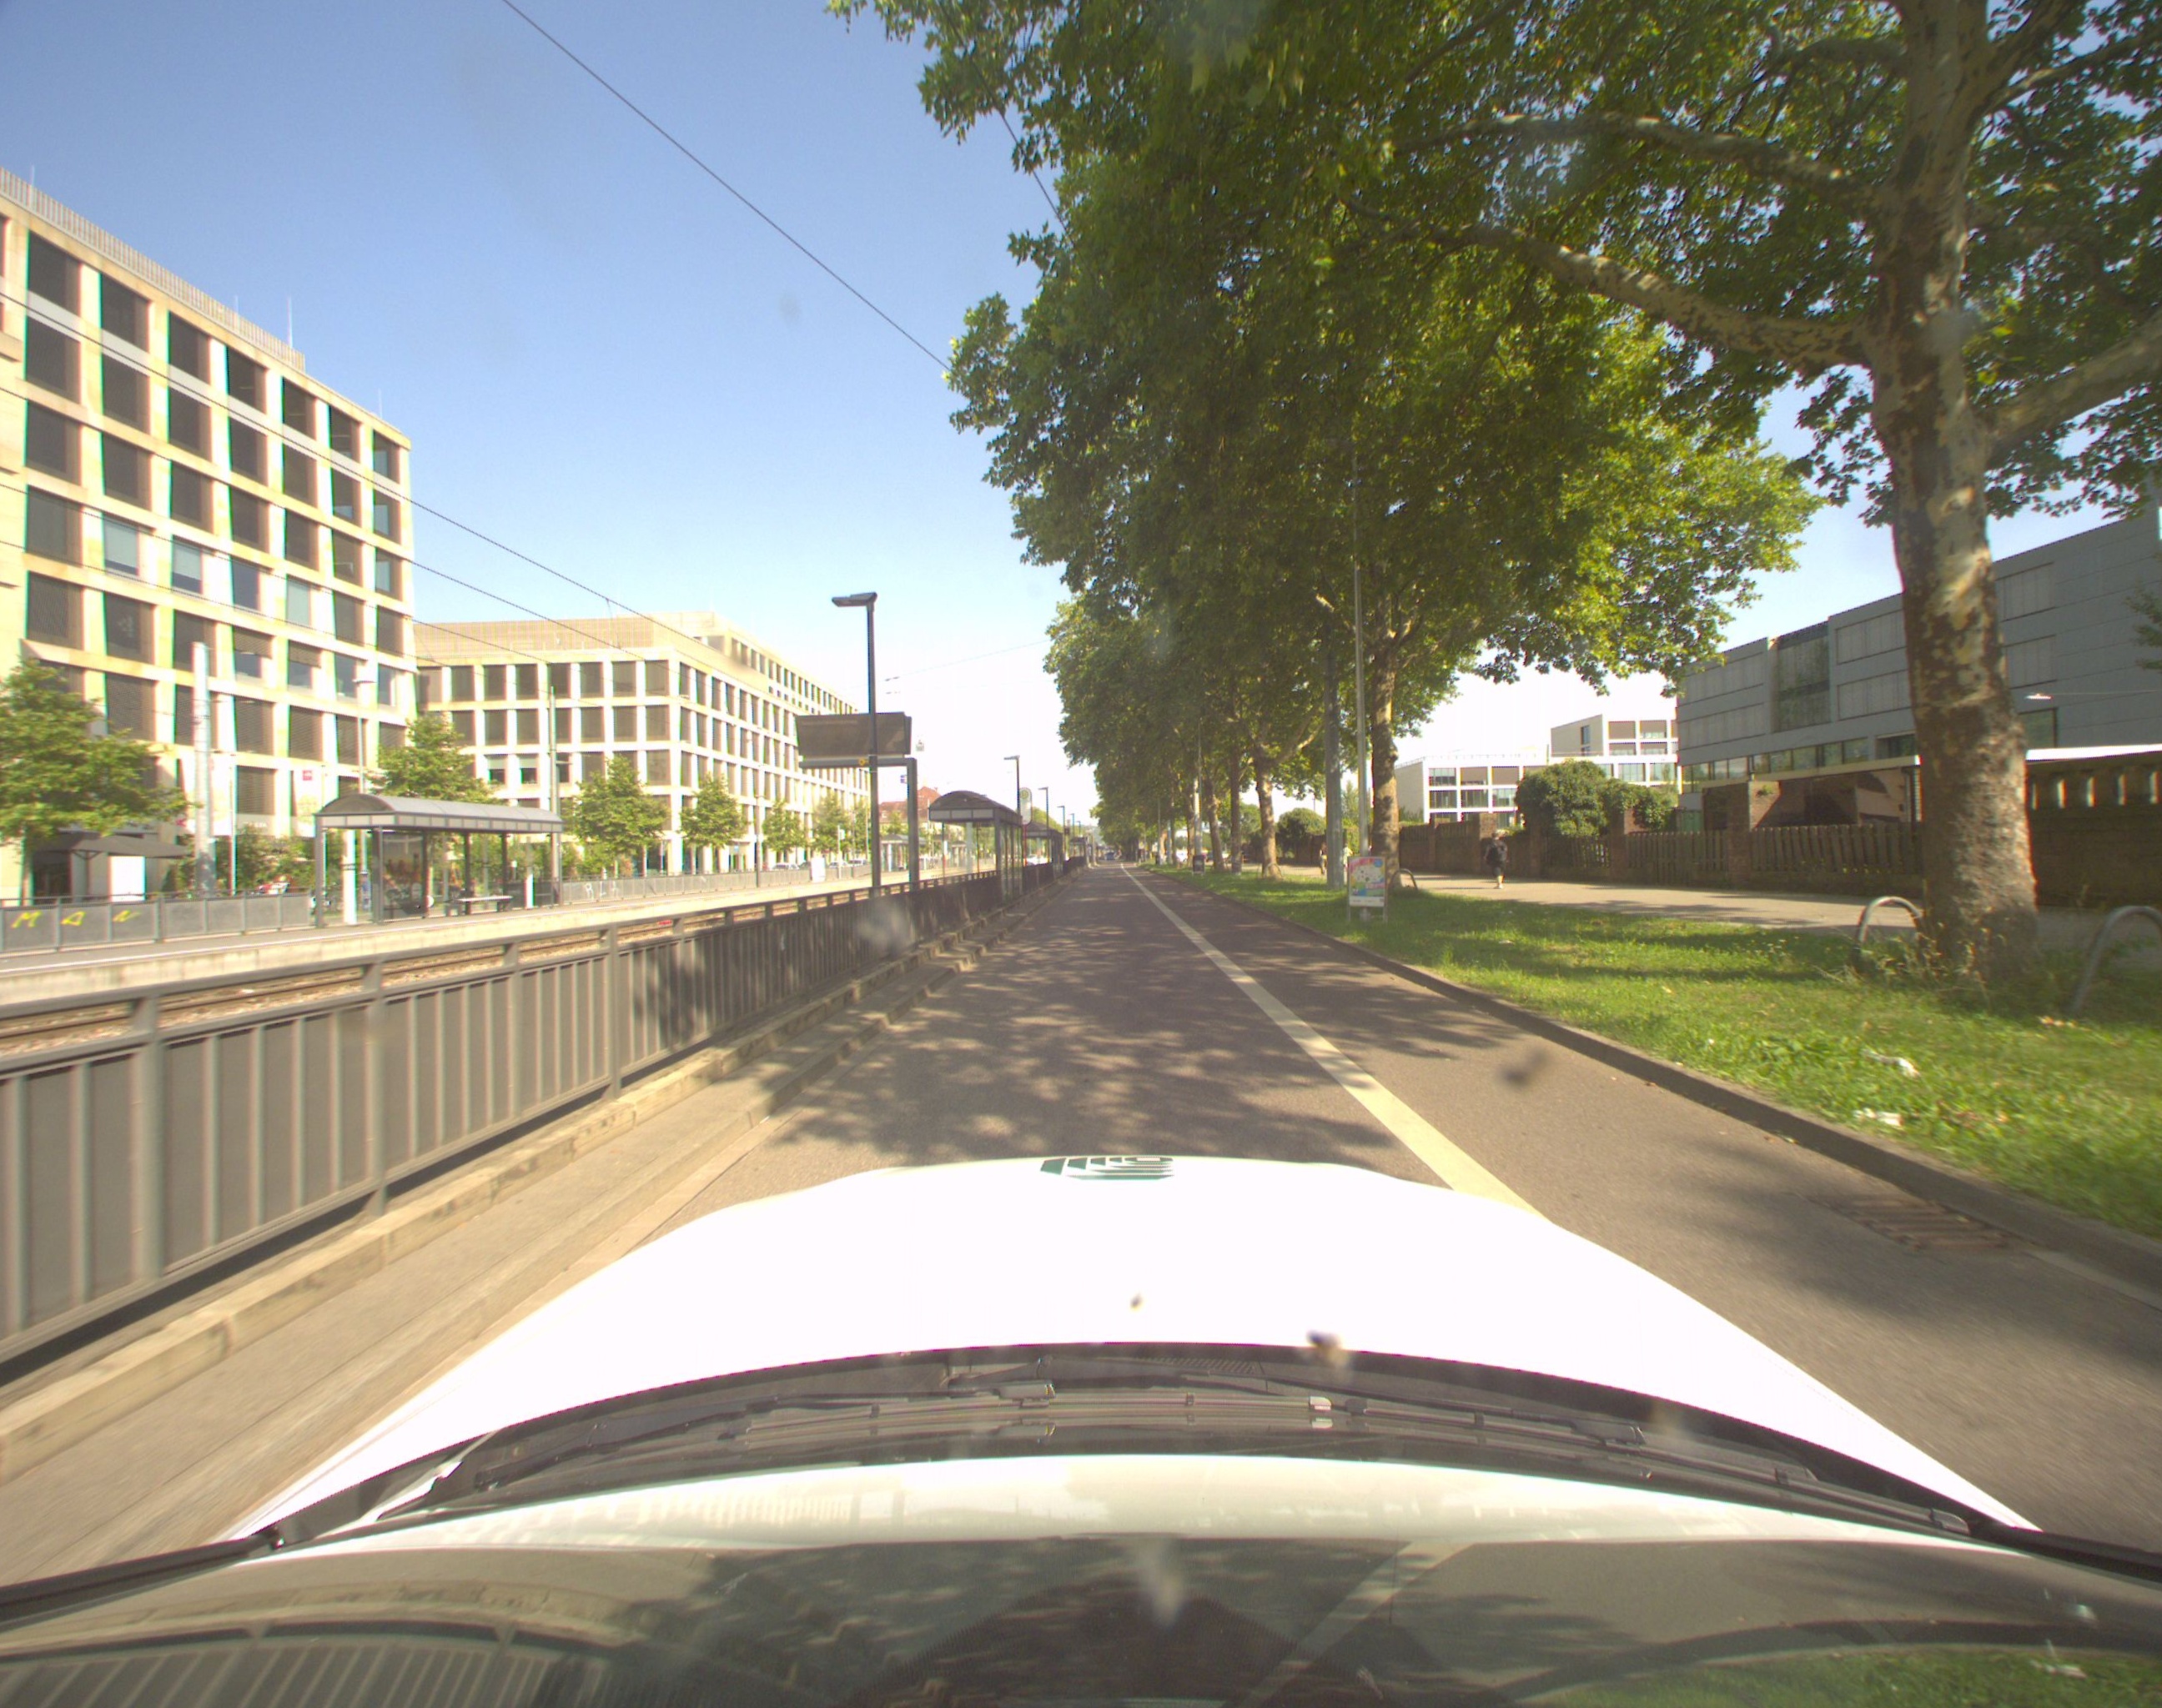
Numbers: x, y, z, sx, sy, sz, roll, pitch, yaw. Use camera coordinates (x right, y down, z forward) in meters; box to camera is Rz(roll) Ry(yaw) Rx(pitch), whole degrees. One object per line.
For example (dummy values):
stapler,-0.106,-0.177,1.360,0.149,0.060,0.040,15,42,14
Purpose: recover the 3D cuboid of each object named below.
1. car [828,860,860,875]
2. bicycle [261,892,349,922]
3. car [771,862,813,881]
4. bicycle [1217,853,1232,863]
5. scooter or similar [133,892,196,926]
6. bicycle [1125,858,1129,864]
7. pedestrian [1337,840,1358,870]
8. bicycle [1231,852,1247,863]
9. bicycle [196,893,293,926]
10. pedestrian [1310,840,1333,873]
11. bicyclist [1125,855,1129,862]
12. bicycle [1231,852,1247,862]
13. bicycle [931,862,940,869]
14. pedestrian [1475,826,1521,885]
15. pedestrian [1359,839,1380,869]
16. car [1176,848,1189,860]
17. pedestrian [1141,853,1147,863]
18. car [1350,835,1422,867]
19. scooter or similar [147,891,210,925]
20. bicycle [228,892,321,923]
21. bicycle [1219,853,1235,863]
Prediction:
car,-22.382,1.252,77.168,1.636,1.377,4.224,-2,0,2
bicycle,-28.761,1.957,30.202,2.425,0.986,0.821,-2,0,0
car,-23.010,1.397,64.996,1.636,1.377,4.224,-2,0,2
bicycle,15.652,0.401,88.722,0.509,0.969,1.642,-3,-1,-40
scooter or similar,-28.341,1.694,25.191,1.496,0.986,0.372,-2,0,0
bicycle,9.219,1.346,162.144,0.712,1.107,2.510,-1,-1,2
pedestrian,14.714,0.048,45.050,0.803,1.604,0.948,-3,-1,2
bicycle,16.488,0.378,85.008,1.647,0.969,0.507,-4,0,7
bicycle,-28.425,1.866,27.693,2.425,0.986,0.821,-2,0,0
pedestrian,12.269,0.114,41.569,0.803,1.636,0.948,-3,-1,2
bicyclist,9.206,0.886,162.102,0.703,1.461,1.009,-1,-1,2
bicycle,17.391,0.326,89.685,1.649,0.969,0.507,-4,0,4
bicycle,-14.493,1.174,81.032,0.474,0.662,1.616,-2,0,6
pedestrian,12.389,0.057,24.234,0.816,1.686,1.012,-2,0,2
pedestrian,15.915,-0.006,44.942,0.803,1.604,0.948,-3,-1,2
car,17.304,0.025,139.198,1.715,2.048,4.464,-2,0,2
pedestrian,11.036,0.667,142.486,0.618,1.617,0.850,-2,0,39
car,22.677,-0.195,60.712,4.644,2.318,2.056,-1,-1,1
scooter or similar,-28.523,1.709,25.742,1.517,0.986,0.395,-2,0,0
bicycle,-28.549,1.883,28.837,2.425,0.986,0.821,-2,0,0
bicycle,15.653,0.426,87.445,0.509,0.969,1.642,-3,-1,-40
